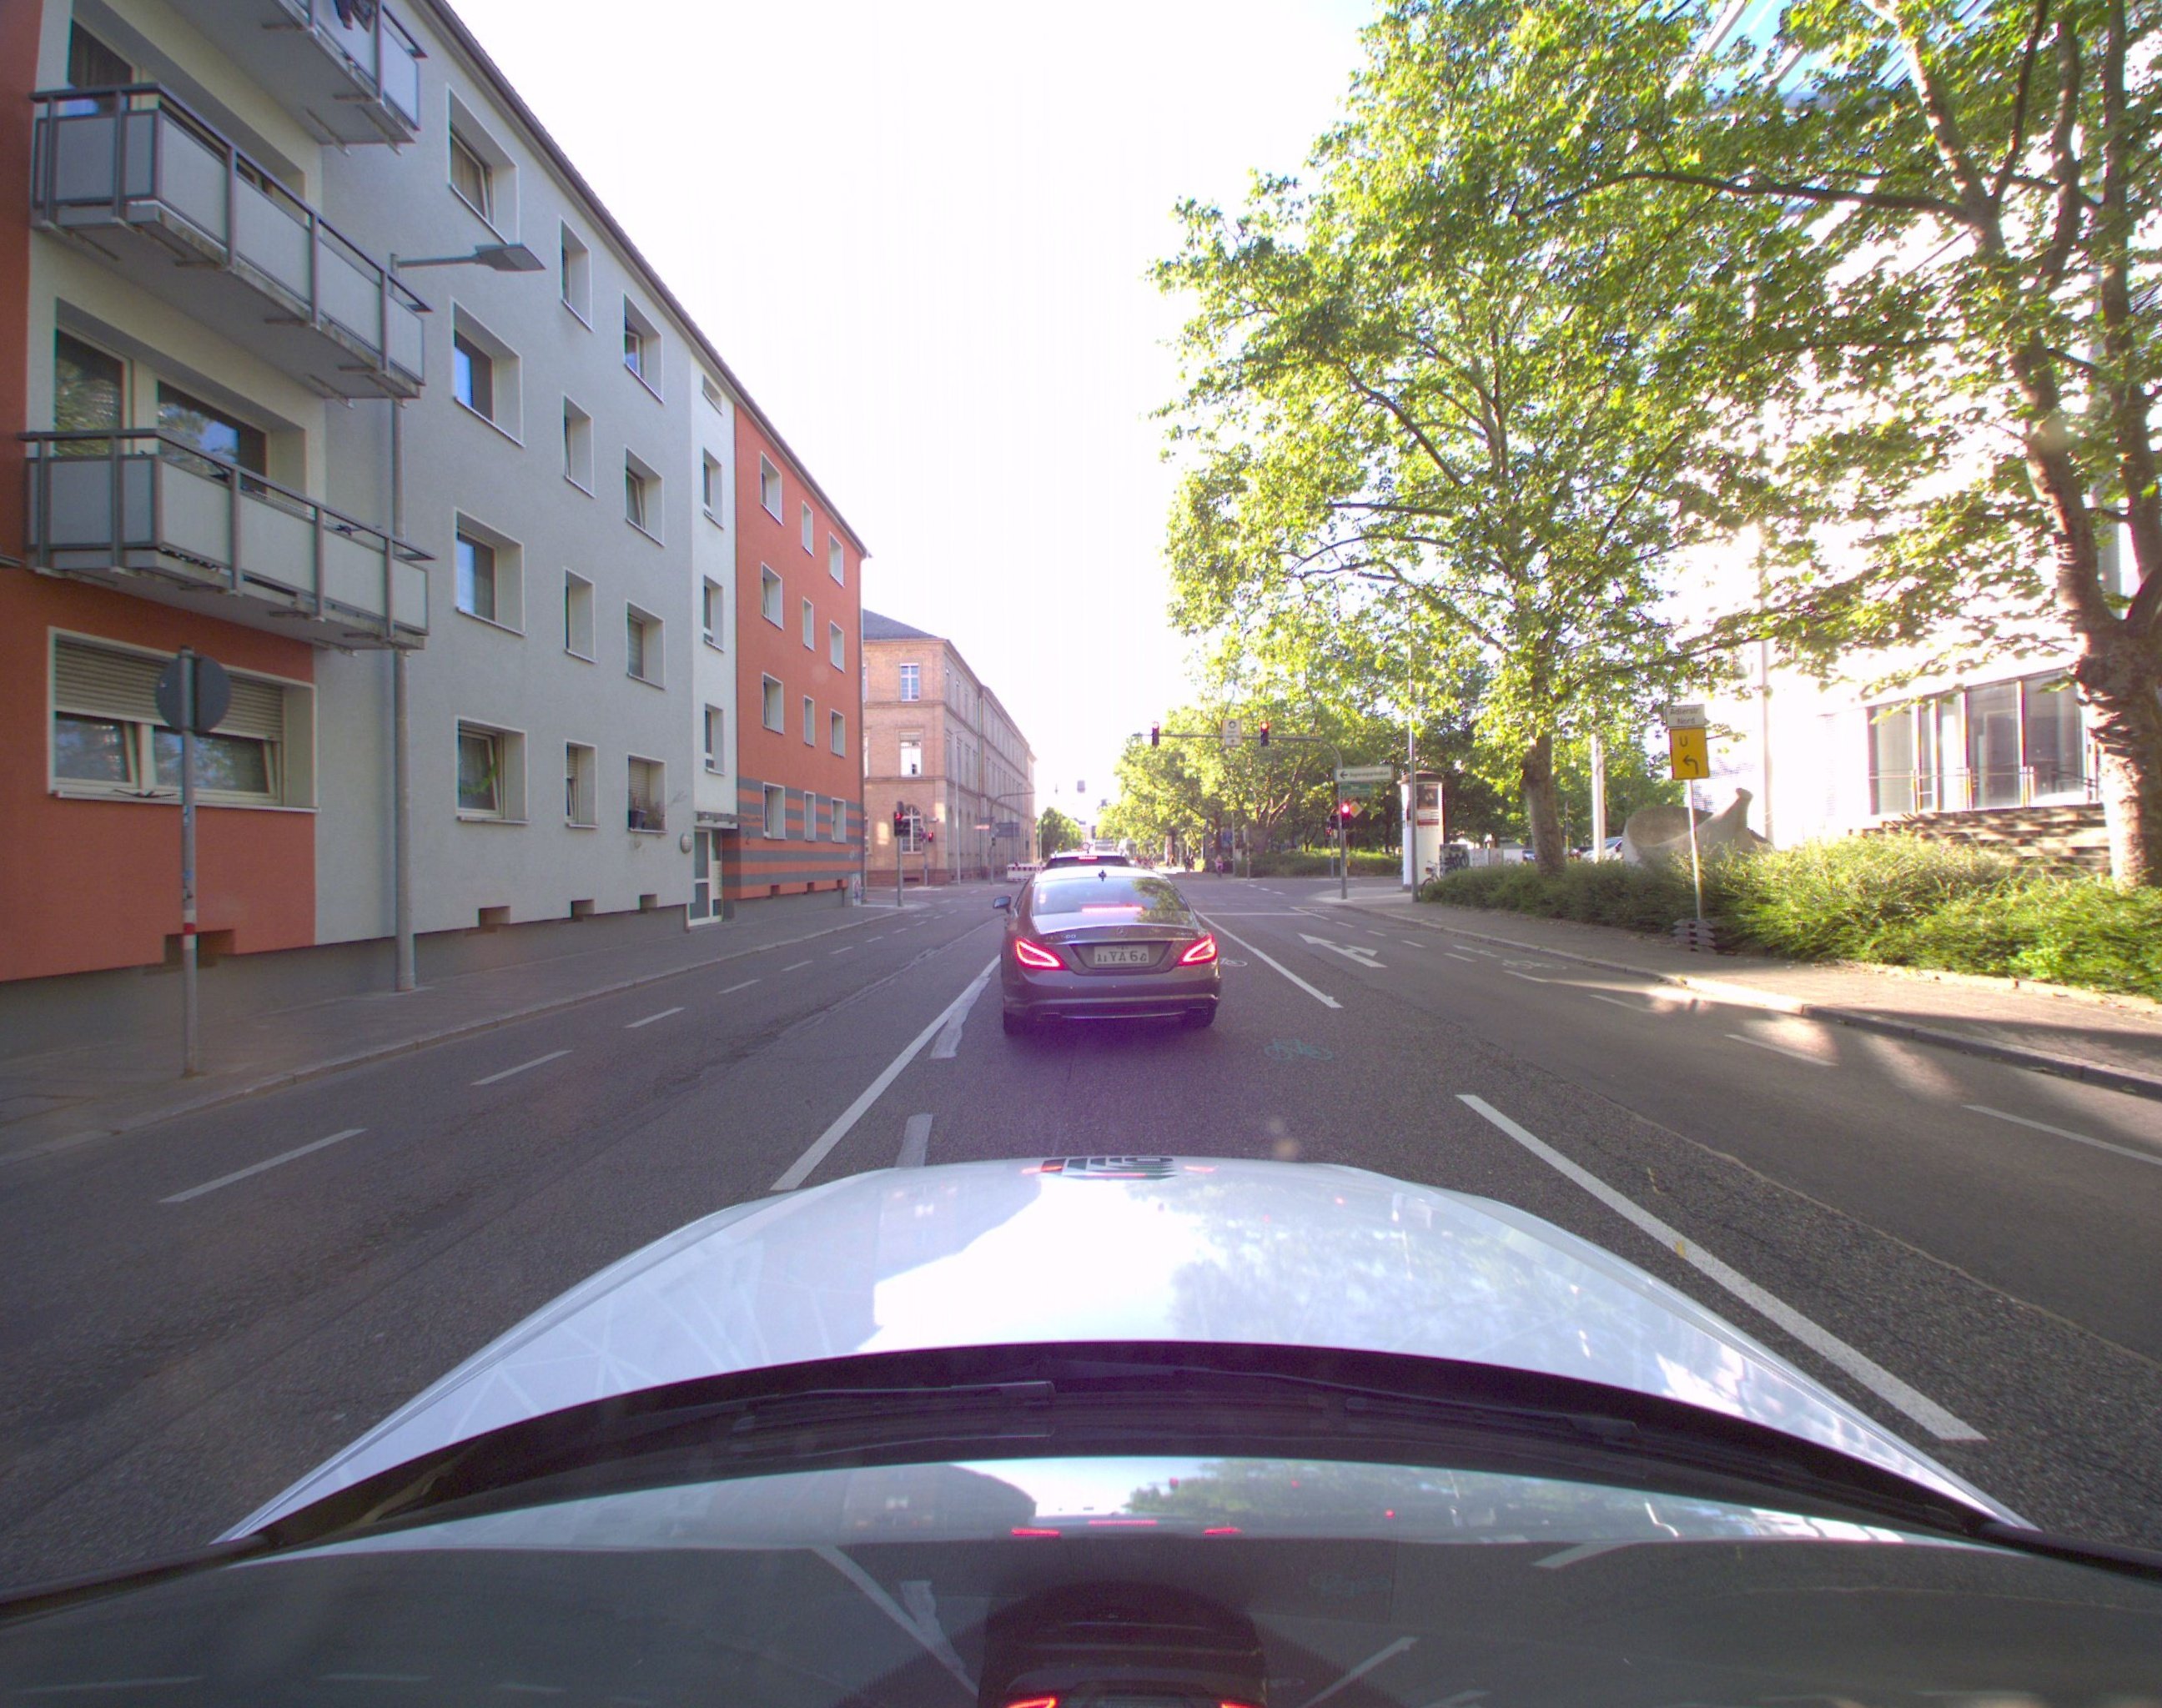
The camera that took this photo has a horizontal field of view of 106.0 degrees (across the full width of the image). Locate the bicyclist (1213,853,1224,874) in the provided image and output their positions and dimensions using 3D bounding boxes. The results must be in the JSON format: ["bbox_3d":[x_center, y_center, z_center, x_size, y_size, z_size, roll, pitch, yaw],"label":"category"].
[{"bbox_3d":[9.250,0.650,54.654,0.598,1.402,0.931,1,0,1],"label":"bicyclist"}]

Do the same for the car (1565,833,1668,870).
[{"bbox_3d":[27.627,-0.116,42.105,3.976,1.784,2.004,-1,0,6],"label":"car"}]

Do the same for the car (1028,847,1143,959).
[{"bbox_3d":[0.080,0.738,13.997,1.676,1.625,3.841,-1,0,0],"label":"car"}]

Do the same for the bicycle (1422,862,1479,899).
[{"bbox_3d":[10.812,0.778,23.848,1.411,1.037,0.538,-1,0,-2],"label":"bicycle"}]

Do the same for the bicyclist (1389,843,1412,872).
[{"bbox_3d":[17.658,0.207,45.042,0.813,1.553,0.883,-1,0,-8],"label":"bicyclist"}]

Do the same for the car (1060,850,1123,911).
[{"bbox_3d":[0.306,0.721,23.835,1.676,1.625,3.841,-1,0,0],"label":"car"}]

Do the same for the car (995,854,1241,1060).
[{"bbox_3d":[0.103,0.768,8.234,1.818,1.476,4.345,-1,0,-5],"label":"car"}]

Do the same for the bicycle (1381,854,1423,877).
[{"bbox_3d":[17.754,0.631,45.044,1.996,1.185,0.883,-1,0,-8],"label":"bicycle"}]

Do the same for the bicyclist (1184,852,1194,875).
[{"bbox_3d":[7.249,0.629,54.740,0.608,1.516,0.890,0,0,1],"label":"bicyclist"}]

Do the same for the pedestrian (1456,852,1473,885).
[{"bbox_3d":[20.879,0.798,44.321,0.617,1.784,0.631,-1,0,4],"label":"pedestrian"}]

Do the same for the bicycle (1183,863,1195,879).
[{"bbox_3d":[7.238,1.143,54.683,0.608,1.026,1.732,0,0,2],"label":"bicycle"}]

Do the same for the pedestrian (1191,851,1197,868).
[{"bbox_3d":[11.000,0.532,79.303,0.557,1.678,0.565,-1,0,1],"label":"pedestrian"}]

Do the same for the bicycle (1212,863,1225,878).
[{"bbox_3d":[9.250,1.108,54.670,0.598,0.985,1.882,1,0,2],"label":"bicycle"}]
